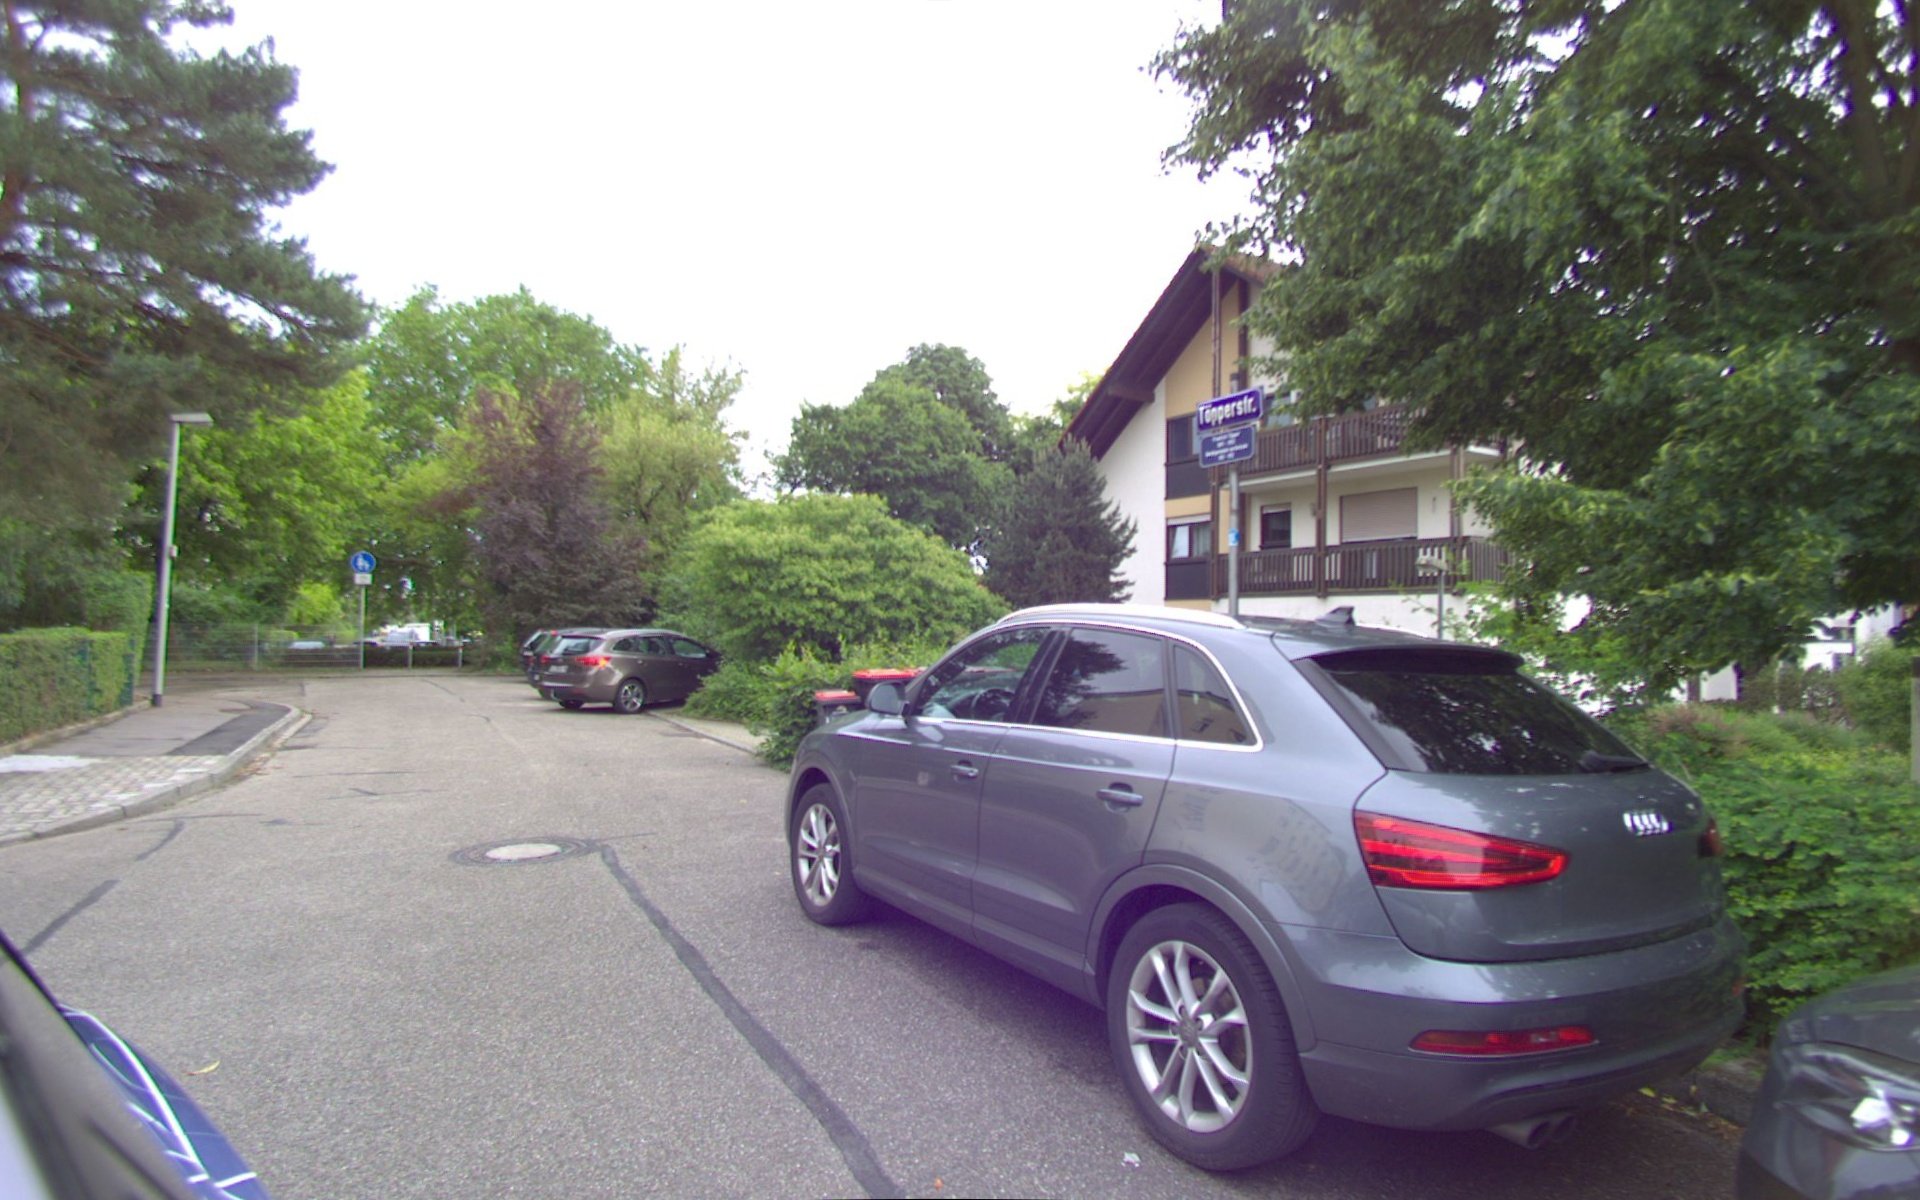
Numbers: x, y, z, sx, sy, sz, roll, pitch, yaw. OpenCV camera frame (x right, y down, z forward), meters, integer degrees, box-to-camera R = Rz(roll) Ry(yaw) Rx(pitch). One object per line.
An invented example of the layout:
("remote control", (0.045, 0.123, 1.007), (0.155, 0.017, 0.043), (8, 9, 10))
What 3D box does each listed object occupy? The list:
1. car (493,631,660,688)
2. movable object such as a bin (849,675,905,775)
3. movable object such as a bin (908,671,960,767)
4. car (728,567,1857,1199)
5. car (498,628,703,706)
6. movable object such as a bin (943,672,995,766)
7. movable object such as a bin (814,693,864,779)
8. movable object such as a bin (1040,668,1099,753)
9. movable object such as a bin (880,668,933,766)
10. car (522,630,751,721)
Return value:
("car", (-10.208, 1.553, 27.185), (1.696, 1.385, 3.955), (-1, -2, 33))
("movable object such as a bin", (-0.892, 1.320, 10.848), (0.373, 1.001, 0.540), (2, -1, -34))
("movable object such as a bin", (-0.291, 1.307, 11.246), (0.332, 1.001, 0.540), (2, -1, -34))
("car", (0.627, 0.800, 4.159), (1.718, 1.543, 4.263), (4, -3, -32))
("car", (-7.631, 1.392, 21.831), (1.696, 1.502, 3.955), (-1, -2, 33))
("movable object such as a bin", (0.100, 1.336, 11.482), (0.332, 1.001, 0.540), (2, -1, -34))
("movable object such as a bin", (-1.271, 1.417, 10.645), (0.373, 0.843, 0.388), (2, -1, -34))
("movable object such as a bin", (1.097, 1.100, 10.183), (0.373, 0.804, 0.462), (2, -1, -32))
("movable object such as a bin", (-0.590, 1.261, 11.063), (0.332, 1.001, 0.540), (2, -1, -34))
("car", (-5.986, 1.350, 19.162), (1.696, 1.502, 3.955), (-1, -2, 33))
